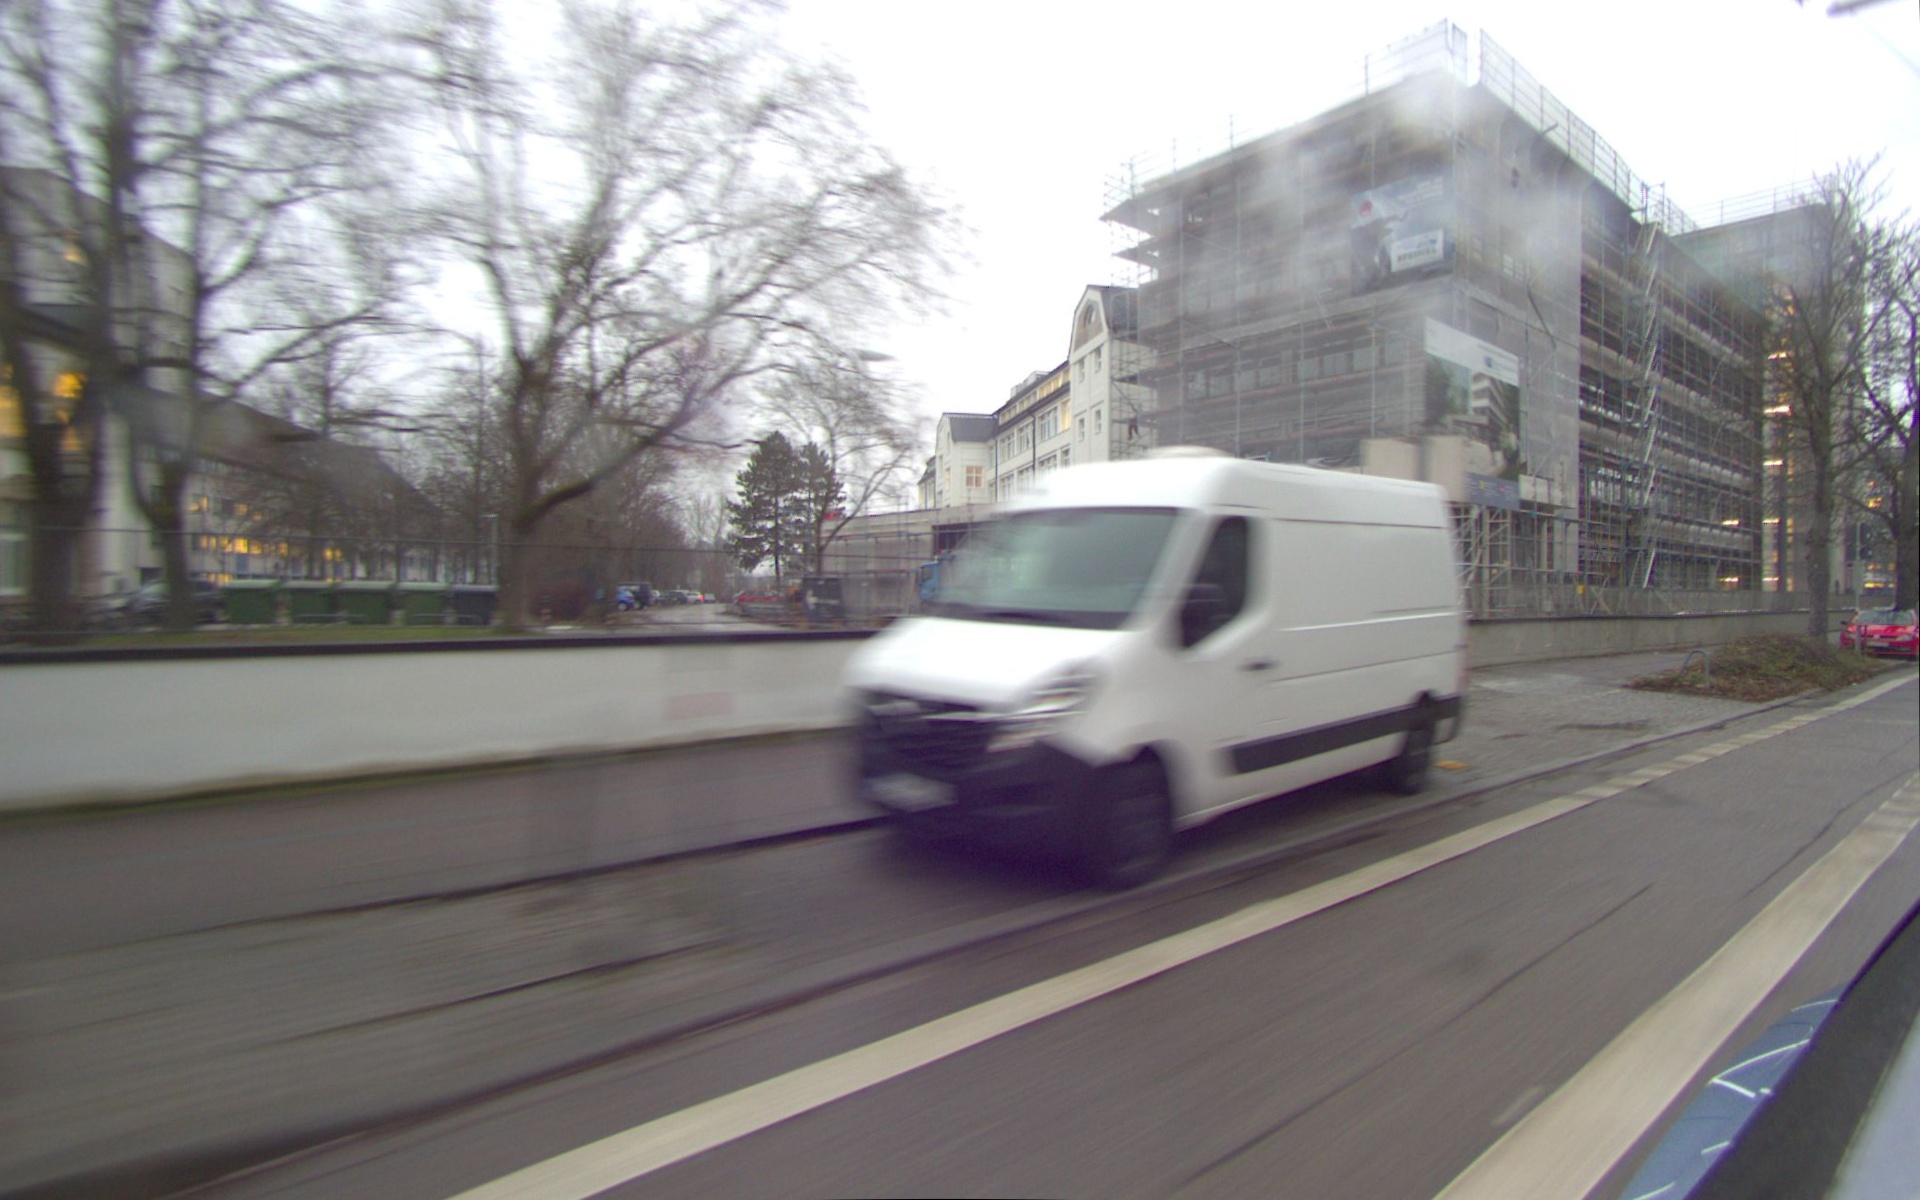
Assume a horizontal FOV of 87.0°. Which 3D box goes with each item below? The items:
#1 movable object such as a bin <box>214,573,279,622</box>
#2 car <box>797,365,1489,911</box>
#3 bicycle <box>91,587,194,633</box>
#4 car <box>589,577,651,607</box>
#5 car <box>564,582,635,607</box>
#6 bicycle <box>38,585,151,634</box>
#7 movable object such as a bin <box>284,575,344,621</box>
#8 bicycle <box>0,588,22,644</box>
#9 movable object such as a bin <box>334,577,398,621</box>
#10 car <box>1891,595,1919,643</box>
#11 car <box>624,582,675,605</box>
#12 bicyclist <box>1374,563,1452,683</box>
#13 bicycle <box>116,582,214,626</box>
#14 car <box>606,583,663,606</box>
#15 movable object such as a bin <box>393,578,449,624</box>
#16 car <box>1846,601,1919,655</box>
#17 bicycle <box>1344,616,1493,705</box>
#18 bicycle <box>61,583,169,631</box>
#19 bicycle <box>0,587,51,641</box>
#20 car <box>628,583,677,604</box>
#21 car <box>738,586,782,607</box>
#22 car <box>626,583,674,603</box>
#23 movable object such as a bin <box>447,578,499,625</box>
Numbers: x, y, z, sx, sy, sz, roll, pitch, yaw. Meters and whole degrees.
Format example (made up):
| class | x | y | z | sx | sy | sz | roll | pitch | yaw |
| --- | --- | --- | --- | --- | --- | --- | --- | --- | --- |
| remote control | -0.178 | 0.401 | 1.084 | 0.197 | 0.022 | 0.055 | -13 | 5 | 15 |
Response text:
| class | x | y | z | sx | sy | sz | roll | pitch | yaw |
| --- | --- | --- | --- | --- | --- | --- | --- | --- | --- |
| movable object such as a bin | -20.176 | -0.067 | 28.664 | 1.237 | 1.330 | 0.990 | 1 | 0 | -17 |
| car | 1.677 | 0.170 | 7.288 | 5.347 | 2.518 | 2.126 | 1 | 0 | -43 |
| bicycle | -21.633 | 0.256 | 26.821 | 2.097 | 1.171 | 0.574 | 1 | 0 | -10 |
| car | -24.055 | -0.565 | 71.766 | 3.917 | 2.017 | 2.003 | 1 | 0 | -10 |
| car | -23.385 | -0.354 | 65.826 | 4.093 | 1.497 | 2.003 | 1 | -2 | -13 |
| bicycle | -21.336 | 0.230 | 24.972 | 2.097 | 1.171 | 0.574 | 1 | 0 | -10 |
| movable object such as a bin | -18.780 | -0.058 | 29.466 | 1.225 | 1.296 | 0.990 | 1 | 0 | -17 |
| bicycle | -20.330 | 0.308 | 20.409 | 2.097 | 1.106 | 0.574 | 1 | 0 | -10 |
| movable object such as a bin | -17.387 | -0.037 | 29.670 | 1.408 | 1.240 | 0.990 | 1 | 0 | -17 |
| car | 33.211 | 0.652 | 34.424 | 3.668 | 1.604 | 1.753 | 1 | 0 | -39 |
| car | -25.858 | -0.556 | 84.392 | 3.917 | 1.818 | 1.805 | 1 | 0 | -10 |
| bicyclist | 6.636 | 0.322 | 14.837 | 0.693 | 1.710 | 0.771 | 1 | 0 | -33 |
| bicycle | -21.808 | 0.106 | 27.787 | 2.097 | 1.171 | 0.574 | 1 | 0 | -10 |
| car | -25.064 | -0.418 | 78.122 | 3.917 | 1.683 | 2.004 | 1 | 0 | -10 |
| movable object such as a bin | -15.984 | 0.031 | 30.036 | 1.280 | 1.330 | 0.990 | 1 | 0 | -17 |
| car | 26.686 | 0.764 | 28.682 | 3.668 | 1.404 | 1.753 | 1 | 1 | -39 |
| bicycle | 6.651 | 0.843 | 14.788 | 0.716 | 1.147 | 1.895 | 1 | 0 | -32 |
| bicycle | -21.554 | 0.185 | 25.837 | 2.097 | 1.171 | 0.574 | 1 | 0 | -10 |
| bicycle | -20.540 | 0.282 | 21.300 | 2.097 | 1.124 | 0.574 | 1 | 0 | -10 |
| car | -26.791 | -0.559 | 88.298 | 3.917 | 1.683 | 2.004 | 1 | 0 | -10 |
| car | -15.575 | -0.255 | 78.661 | 3.240 | 1.542 | 1.708 | 1 | 0 | -14 |
| car | -27.973 | -0.615 | 91.458 | 3.917 | 1.683 | 2.004 | 1 | 0 | -10 |
| movable object such as a bin | -14.646 | 0.048 | 30.438 | 1.297 | 1.333 | 1.064 | 2 | 0 | -30 |
